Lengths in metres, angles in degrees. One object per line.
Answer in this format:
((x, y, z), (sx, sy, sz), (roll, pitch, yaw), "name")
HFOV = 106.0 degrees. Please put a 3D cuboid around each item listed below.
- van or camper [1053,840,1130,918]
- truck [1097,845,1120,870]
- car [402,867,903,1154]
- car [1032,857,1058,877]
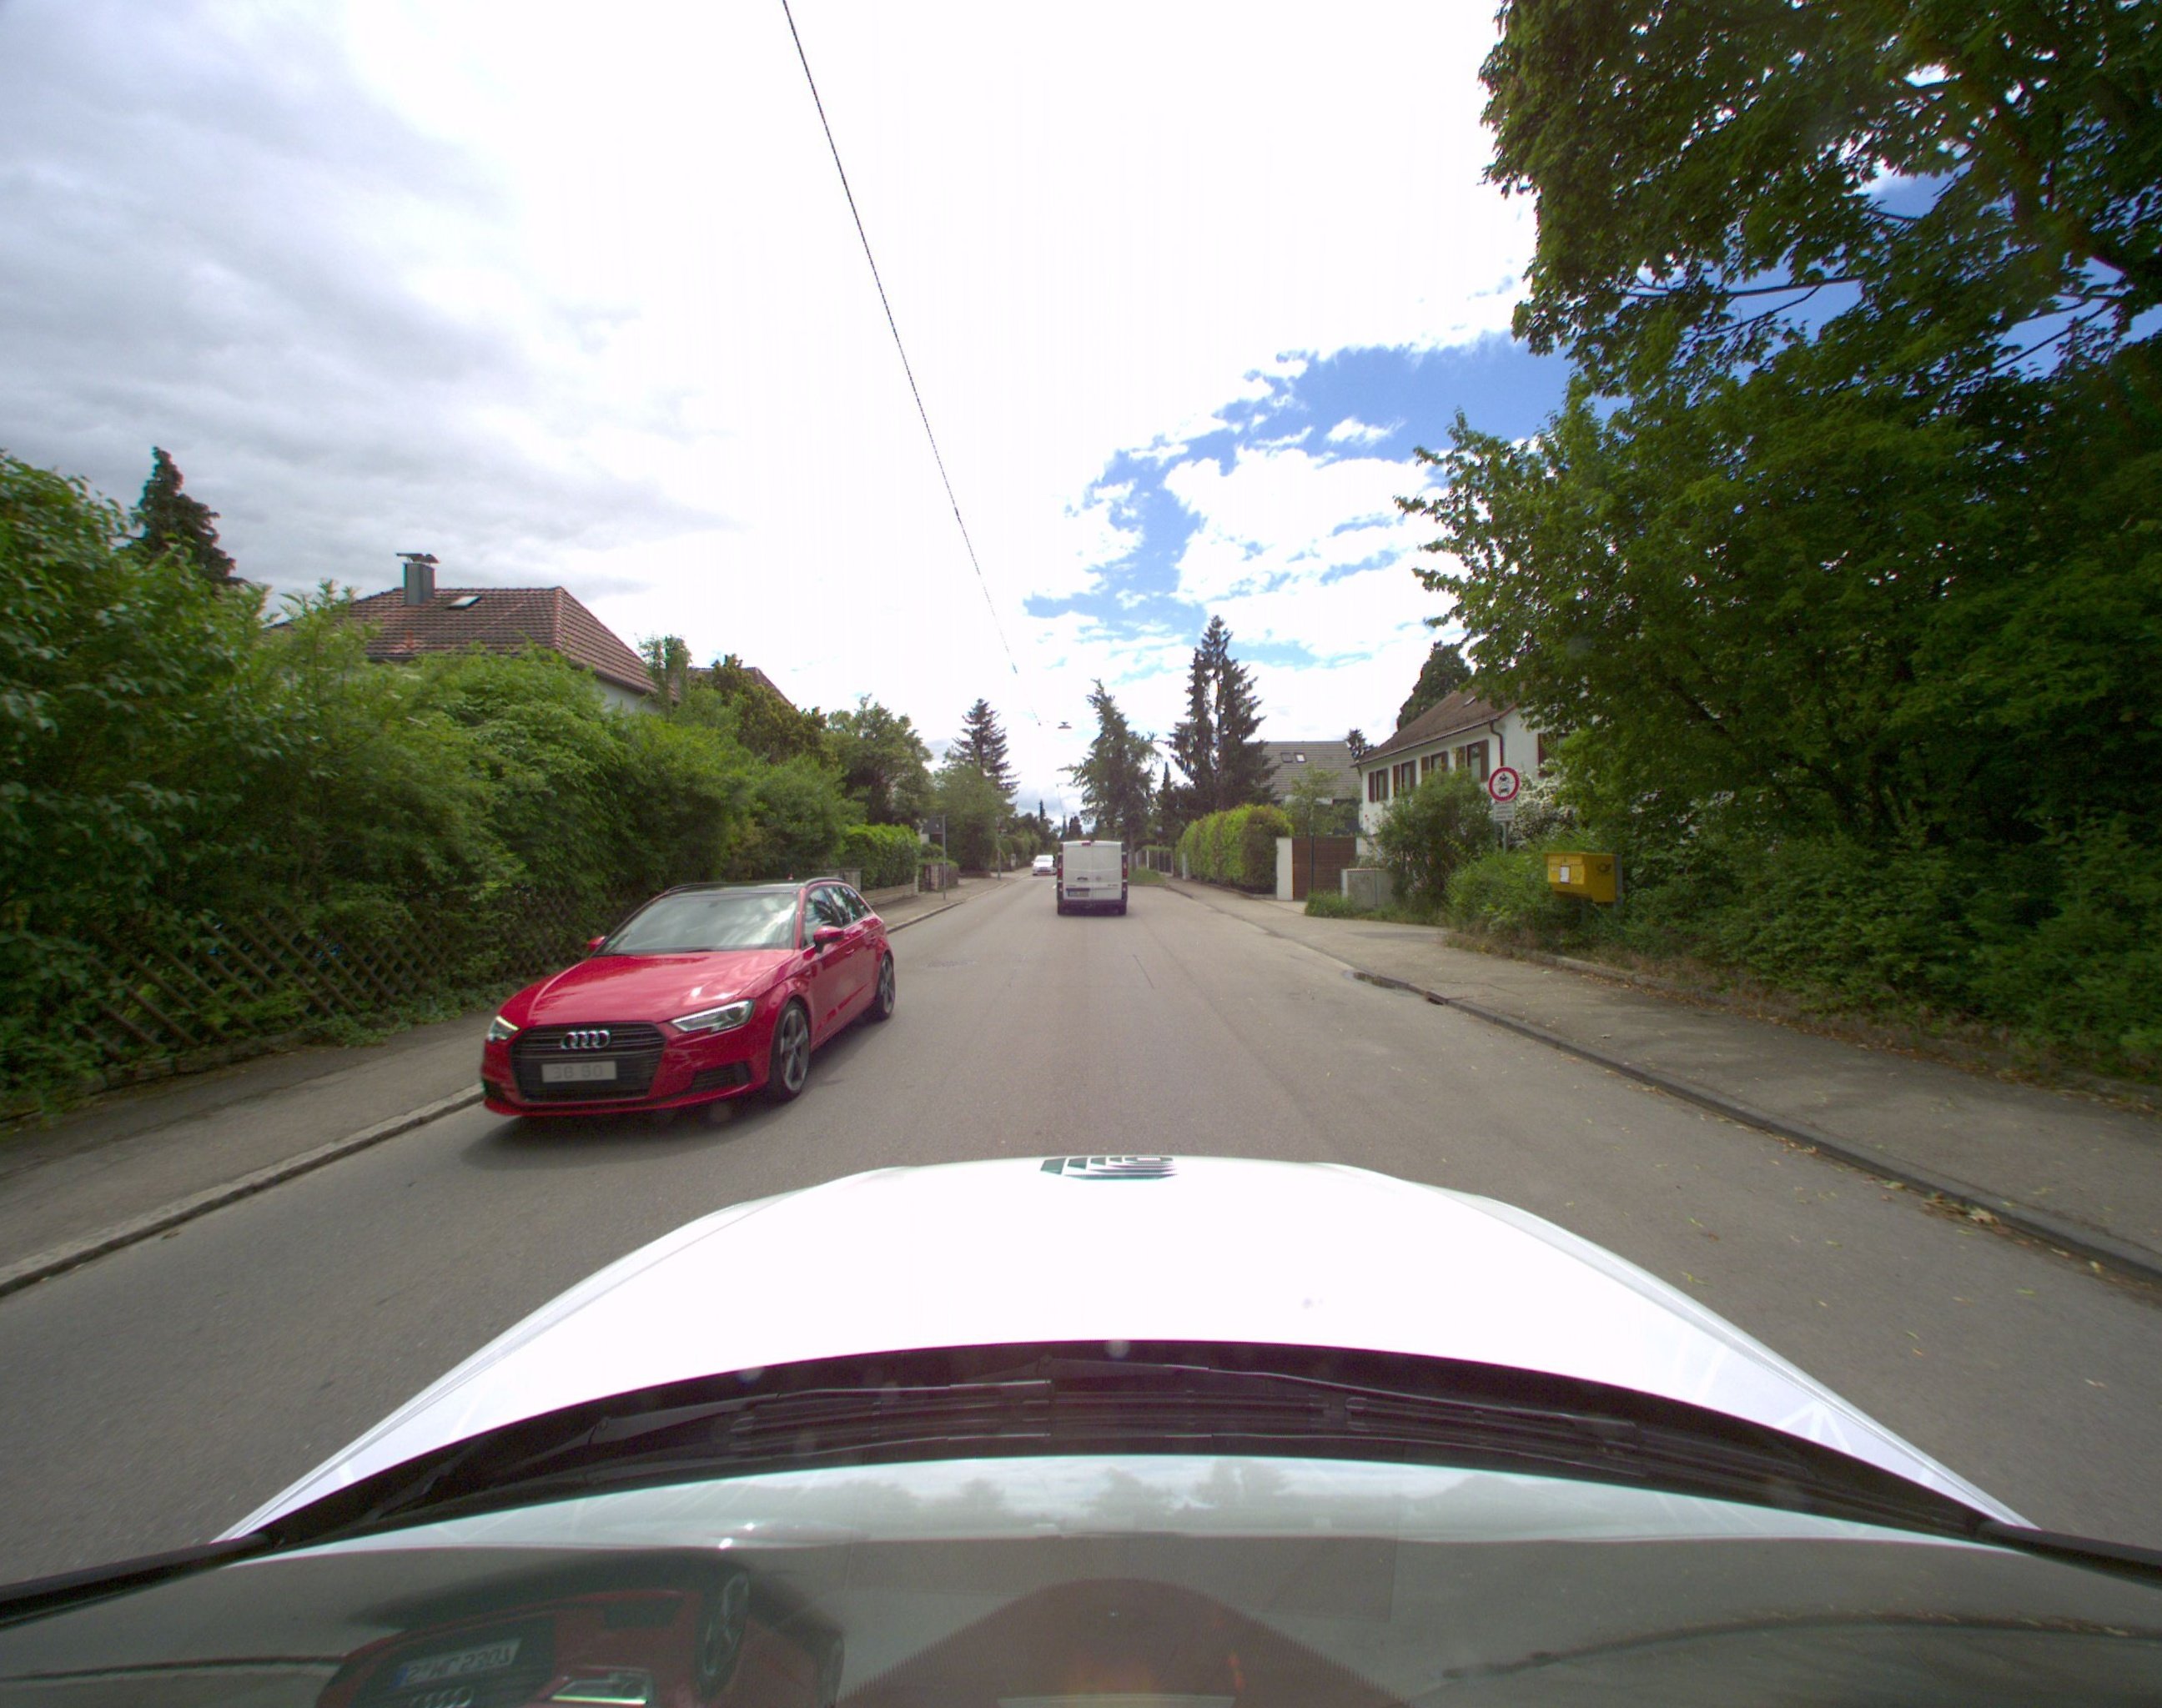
((0.242, 0.695, 22.999), (1.933, 1.954, 4.763), (1, -2, -1), "van or camper")
((2.873, 0.387, 86.545), (2.180, 2.472, 7.429), (1, -1, 0), "truck")
((-2.786, 0.883, 6.507), (1.800, 1.431, 4.116), (-3, -1, -1), "car")
((-2.699, 0.956, 61.632), (1.849, 1.451, 4.279), (-2, 0, -1), "car")
